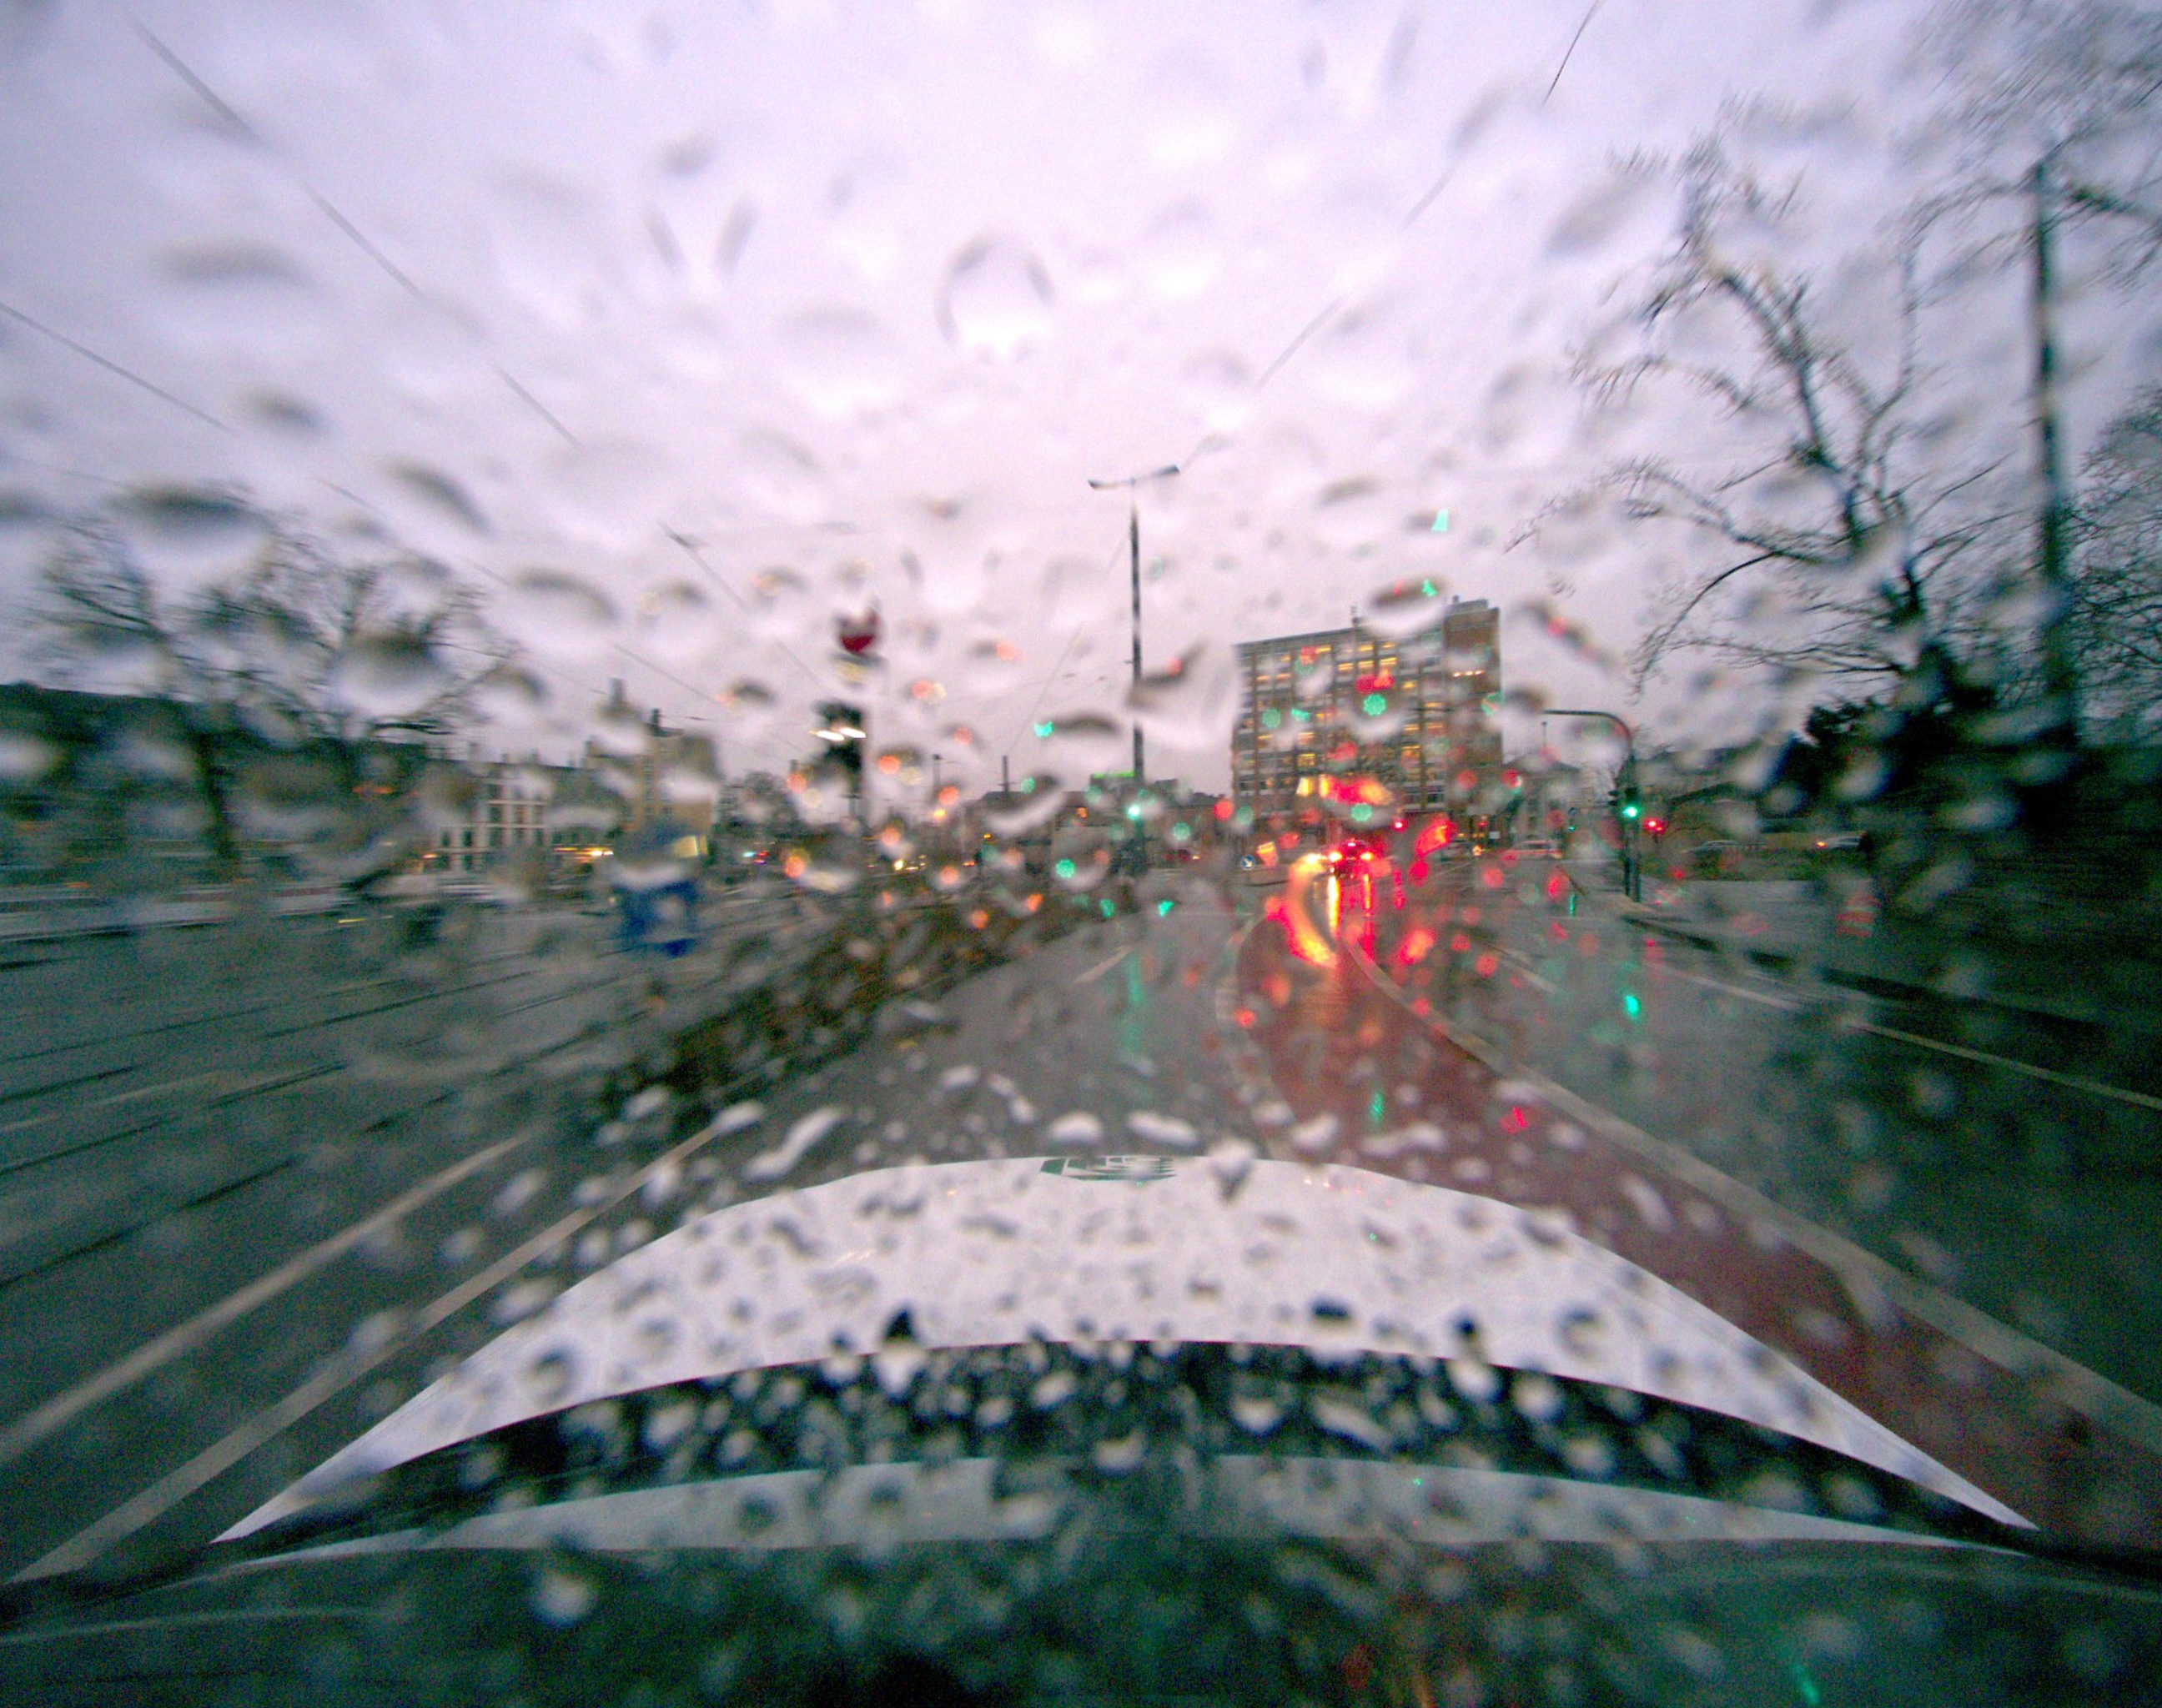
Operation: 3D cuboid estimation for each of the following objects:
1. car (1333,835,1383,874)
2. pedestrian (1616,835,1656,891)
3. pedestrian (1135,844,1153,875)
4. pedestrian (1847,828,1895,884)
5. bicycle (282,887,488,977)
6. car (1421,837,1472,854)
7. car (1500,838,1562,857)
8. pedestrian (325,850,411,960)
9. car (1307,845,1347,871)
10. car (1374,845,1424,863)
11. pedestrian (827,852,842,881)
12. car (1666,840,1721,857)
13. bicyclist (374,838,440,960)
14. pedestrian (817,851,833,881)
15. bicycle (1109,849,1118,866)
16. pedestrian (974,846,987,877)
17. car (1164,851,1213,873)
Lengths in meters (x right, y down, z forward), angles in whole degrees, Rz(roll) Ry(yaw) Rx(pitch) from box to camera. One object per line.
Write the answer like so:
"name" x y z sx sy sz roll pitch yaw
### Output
"car" 13.942 -0.016 40.861 1.631 1.818 4.025 1 1 29
"pedestrian" 17.385 0.277 25.527 0.797 1.684 1.163 -3 0 25
"pedestrian" 3.506 0.314 45.194 0.666 1.674 0.735 1 -1 33
"pedestrian" 24.608 0.058 25.375 0.783 1.675 0.733 -2 -1 16
"bicycle" -10.236 1.097 12.086 0.620 1.074 2.224 0 2 37
"car" 45.787 -1.087 102.144 5.493 2.024 2.012 1 -1 35
"car" 45.190 -0.643 81.935 5.107 1.913 2.011 0 0 45
"pedestrian" -16.046 1.110 18.341 0.984 2.370 1.070 1 -1 25
"car" 17.102 0.274 56.427 1.737 1.662 4.558 -2 0 28
"car" 36.448 -0.005 93.468 4.885 2.014 2.012 0 -1 41
"pedestrian" -15.290 0.786 50.544 0.711 1.806 0.716 0 -1 -5
"car" 55.563 -0.517 73.925 3.880 1.485 1.478 0 -1 45
"bicyclist" -10.116 0.660 12.225 0.604 1.768 0.593 0 -1 38
"pedestrian" -15.171 0.719 48.269 0.711 1.757 0.716 0 -1 -5
"bicycle" 2.332 0.249 58.242 0.547 1.165 1.898 1 -1 0
"pedestrian" -5.880 0.448 47.754 0.601 1.813 0.825 1 -1 -2
"car" 11.623 0.876 88.319 2.271 2.281 4.976 2 -1 -44
